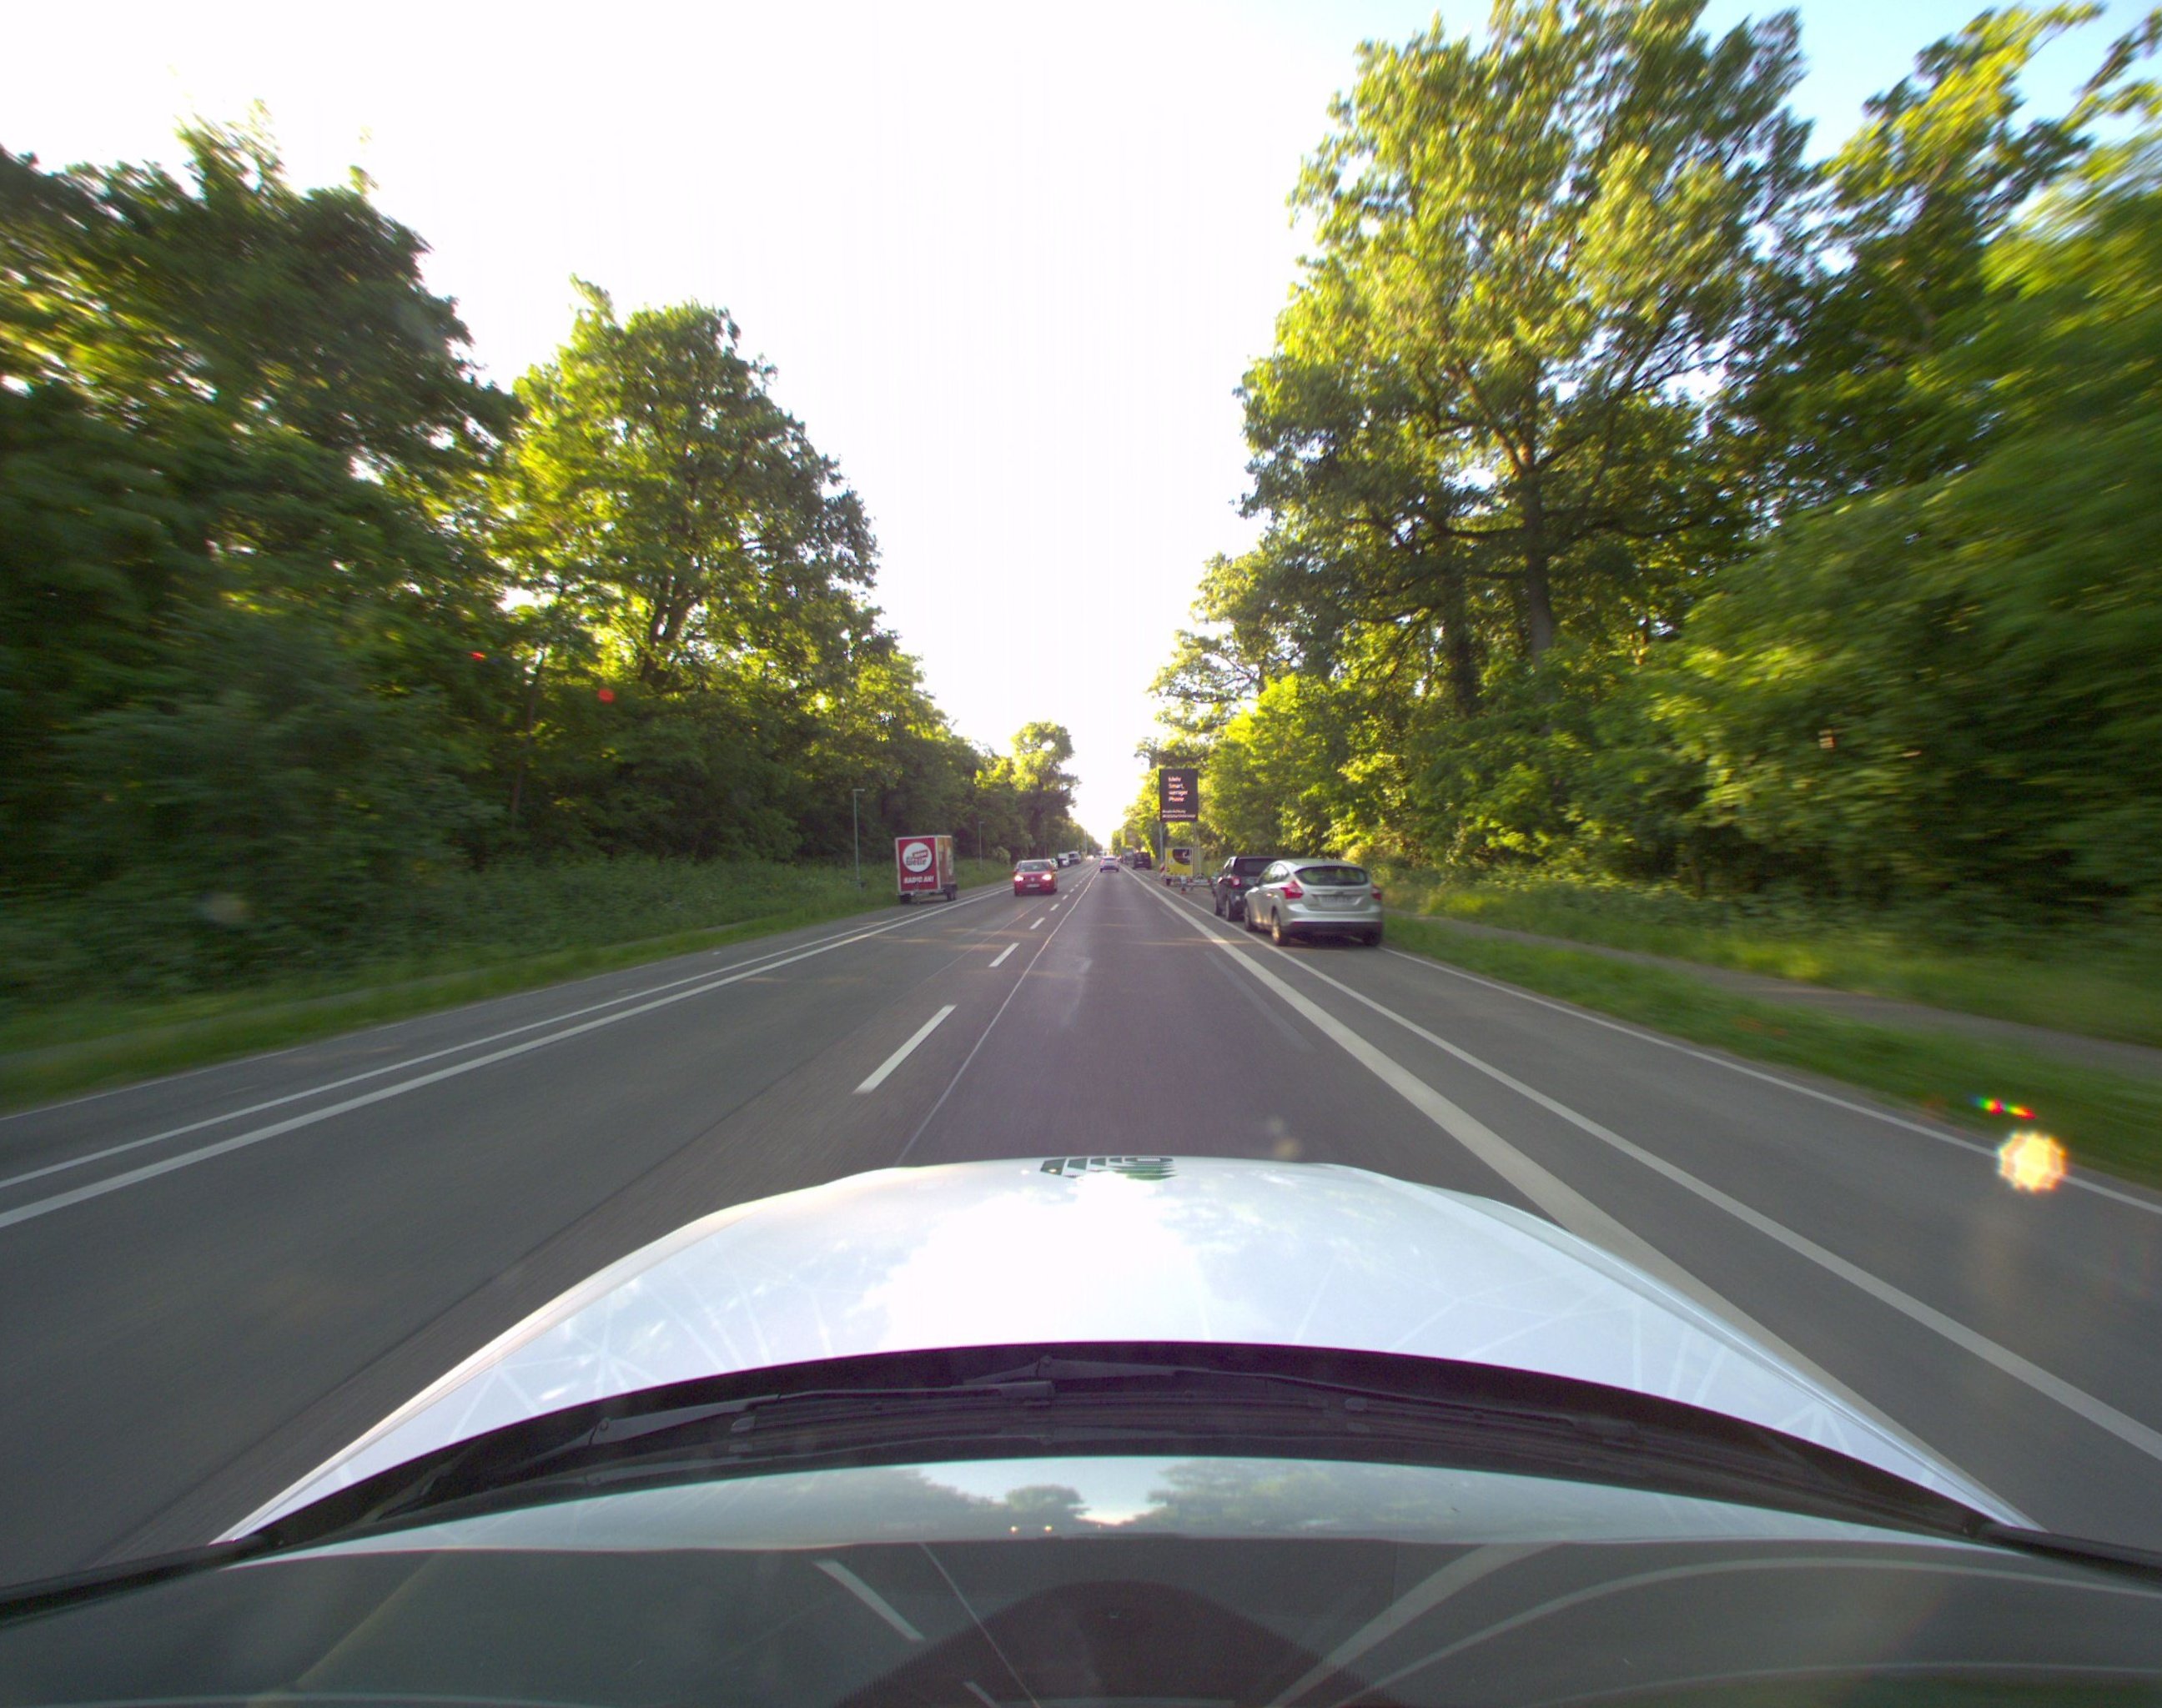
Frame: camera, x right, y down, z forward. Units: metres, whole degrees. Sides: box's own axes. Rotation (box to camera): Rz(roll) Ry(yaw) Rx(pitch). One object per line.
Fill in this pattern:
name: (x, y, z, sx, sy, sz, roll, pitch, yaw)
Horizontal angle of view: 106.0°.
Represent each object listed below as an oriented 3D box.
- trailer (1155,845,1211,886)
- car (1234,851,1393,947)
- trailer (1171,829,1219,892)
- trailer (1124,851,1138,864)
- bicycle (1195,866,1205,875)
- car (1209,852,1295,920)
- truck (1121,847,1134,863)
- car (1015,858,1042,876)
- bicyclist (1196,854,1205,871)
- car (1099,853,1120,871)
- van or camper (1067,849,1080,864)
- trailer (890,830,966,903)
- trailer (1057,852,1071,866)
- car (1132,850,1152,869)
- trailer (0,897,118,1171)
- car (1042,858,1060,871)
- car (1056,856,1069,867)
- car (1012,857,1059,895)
trailer: (5.348, 0.545, 42.382, 1.945, 2.023, 3.864, -1, 0, 21)
car: (4.086, 0.715, 15.078, 1.729, 1.488, 4.401, 1, 0, 1)
trailer: (4.785, 0.275, 34.641, 1.607, 2.508, 4.001, 0, -1, 2)
trailer: (8.386, 0.643, 136.550, 1.600, 2.112, 2.409, -1, 0, 22)
bicycle: (9.443, 1.312, 64.605, 0.589, 0.692, 1.997, -1, 0, 2)
car: (4.143, 0.726, 20.089, 1.580, 1.530, 3.012, 0, 0, 2)
truck: (9.409, 0.233, 166.553, 2.495, 3.366, 7.111, 0, -1, 2)
car: (-4.586, 1.108, 71.119, 1.848, 1.464, 4.786, -1, 0, 2)
bicyclist: (9.465, 0.646, 64.538, 0.608, 1.324, 1.176, -1, 0, 2)
car: (2.760, 0.770, 78.883, 1.986, 1.640, 4.002, -2, 0, 2)
van or camper: (-1.612, 0.532, 169.830, 2.293, 2.768, 5.560, -4, 0, 2)
trailer: (-5.927, 0.470, 32.010, 1.986, 2.621, 4.088, -2, 0, 2)
trailer: (-2.882, 0.852, 138.519, 2.066, 2.293, 3.490, -2, 0, 4)
car: (6.871, 0.621, 92.428, 2.105, 2.013, 5.042, 1, 0, 2)
trailer: (-6.884, 1.013, 2.759, 1.834, 1.466, 4.468, -1, 0, 2)
car: (-3.572, 1.219, 97.758, 1.860, 1.450, 4.073, -4, 0, 2)
car: (-2.867, 1.196, 125.207, 1.808, 1.571, 4.206, -3, 0, 0)
car: (-1.872, 0.890, 34.186, 1.598, 1.421, 3.520, -3, 0, 2)
